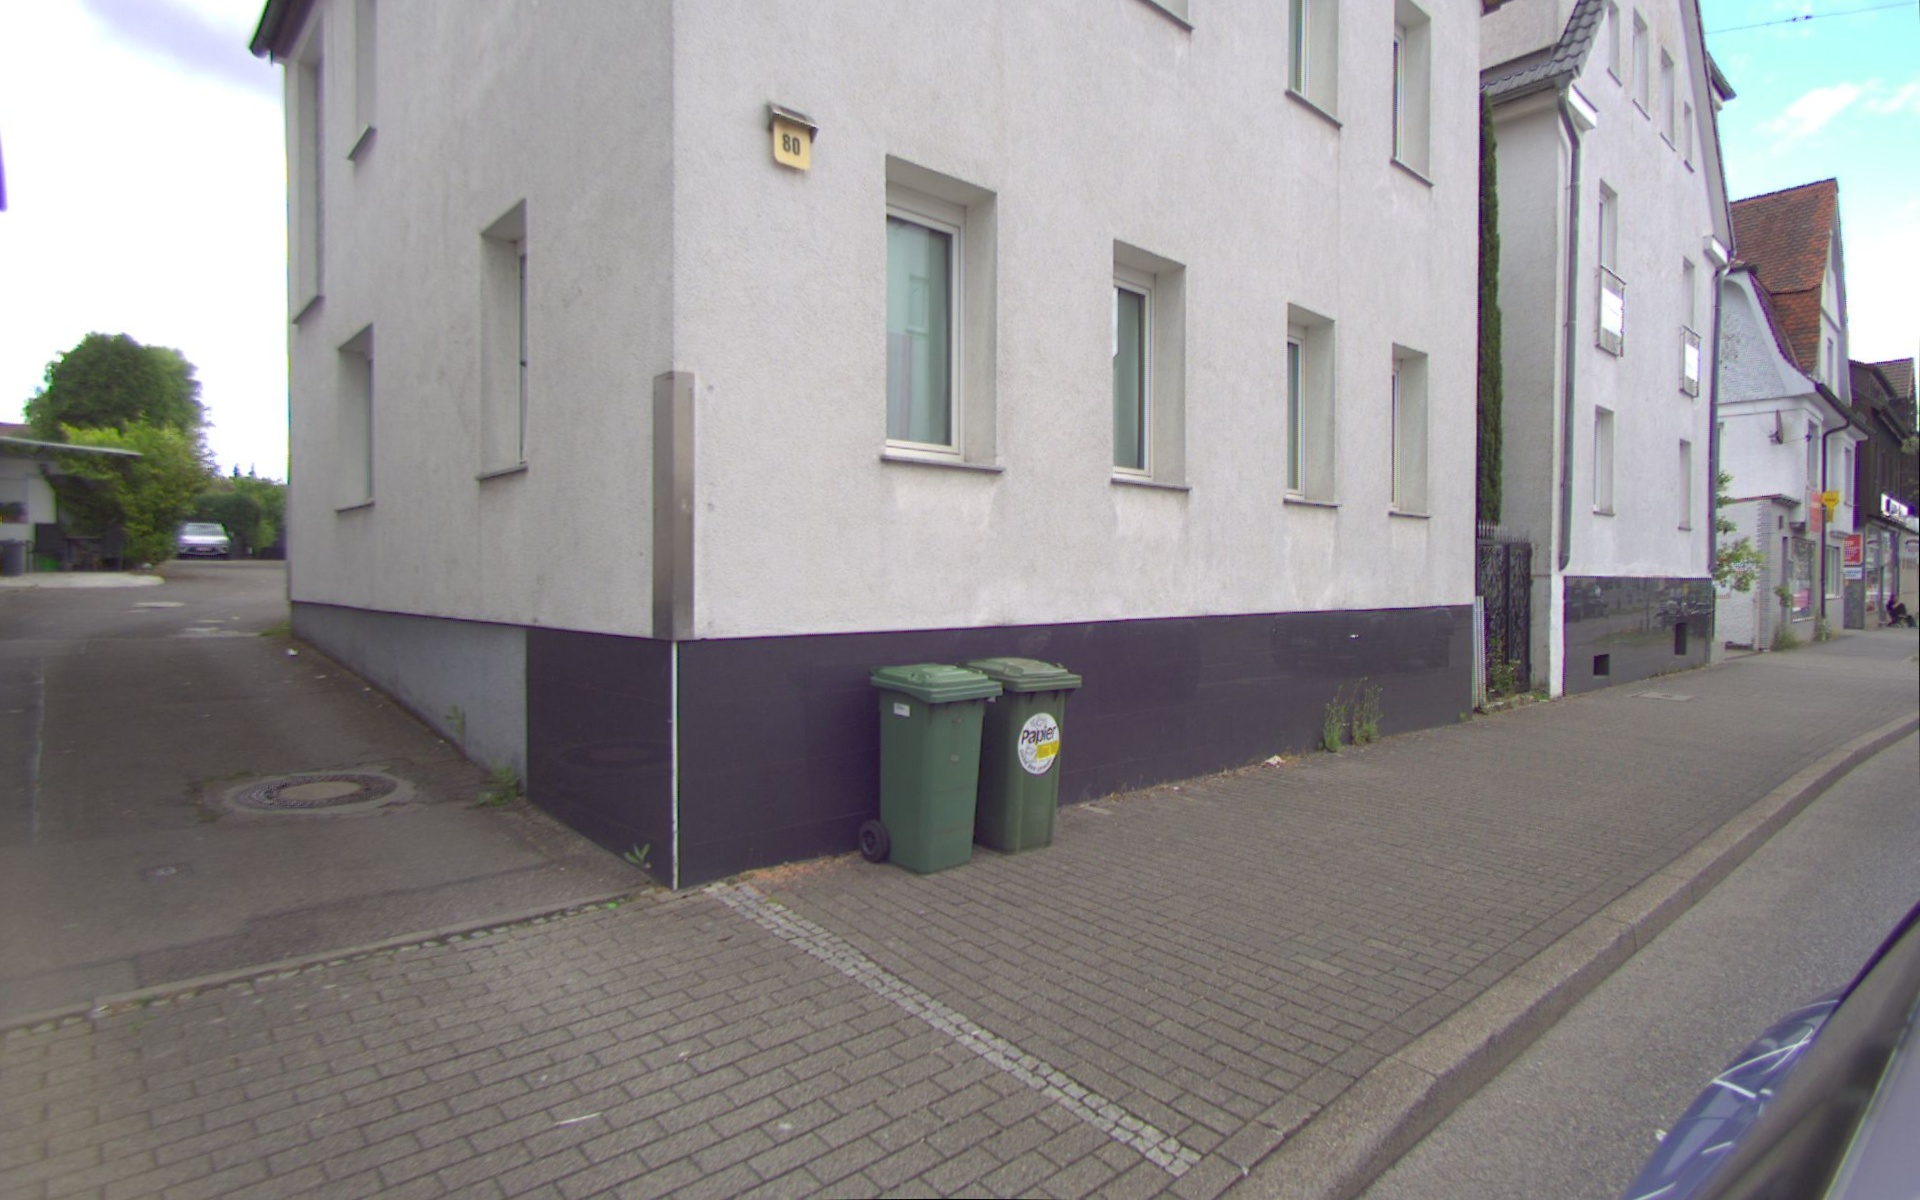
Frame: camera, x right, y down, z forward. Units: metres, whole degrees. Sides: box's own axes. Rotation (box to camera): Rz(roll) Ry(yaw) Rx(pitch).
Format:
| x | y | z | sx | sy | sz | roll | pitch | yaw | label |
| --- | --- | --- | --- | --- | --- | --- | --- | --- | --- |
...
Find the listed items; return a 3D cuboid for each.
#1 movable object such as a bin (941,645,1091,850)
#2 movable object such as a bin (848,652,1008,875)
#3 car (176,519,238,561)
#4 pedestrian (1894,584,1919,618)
| x | y | z | sx | sy | sz | roll | pitch | yaw | label |
| --- | --- | --- | --- | --- | --- | --- | --- | --- | --- |
| 0.283 | 0.721 | 5.201 | 0.510 | 0.914 | 0.565 | -1 | 2 | -41 | movable object such as a bin |
| -0.157 | 0.737 | 4.819 | 0.510 | 0.914 | 0.565 | -1 | 2 | -41 | movable object such as a bin |
| -33.069 | -2.586 | 44.540 | 1.962 | 1.638 | 4.000 | -1 | 0 | -34 | car |
| 36.977 | 0.048 | 39.224 | 0.653 | 1.295 | 0.985 | 0 | 1 | -29 | pedestrian |
